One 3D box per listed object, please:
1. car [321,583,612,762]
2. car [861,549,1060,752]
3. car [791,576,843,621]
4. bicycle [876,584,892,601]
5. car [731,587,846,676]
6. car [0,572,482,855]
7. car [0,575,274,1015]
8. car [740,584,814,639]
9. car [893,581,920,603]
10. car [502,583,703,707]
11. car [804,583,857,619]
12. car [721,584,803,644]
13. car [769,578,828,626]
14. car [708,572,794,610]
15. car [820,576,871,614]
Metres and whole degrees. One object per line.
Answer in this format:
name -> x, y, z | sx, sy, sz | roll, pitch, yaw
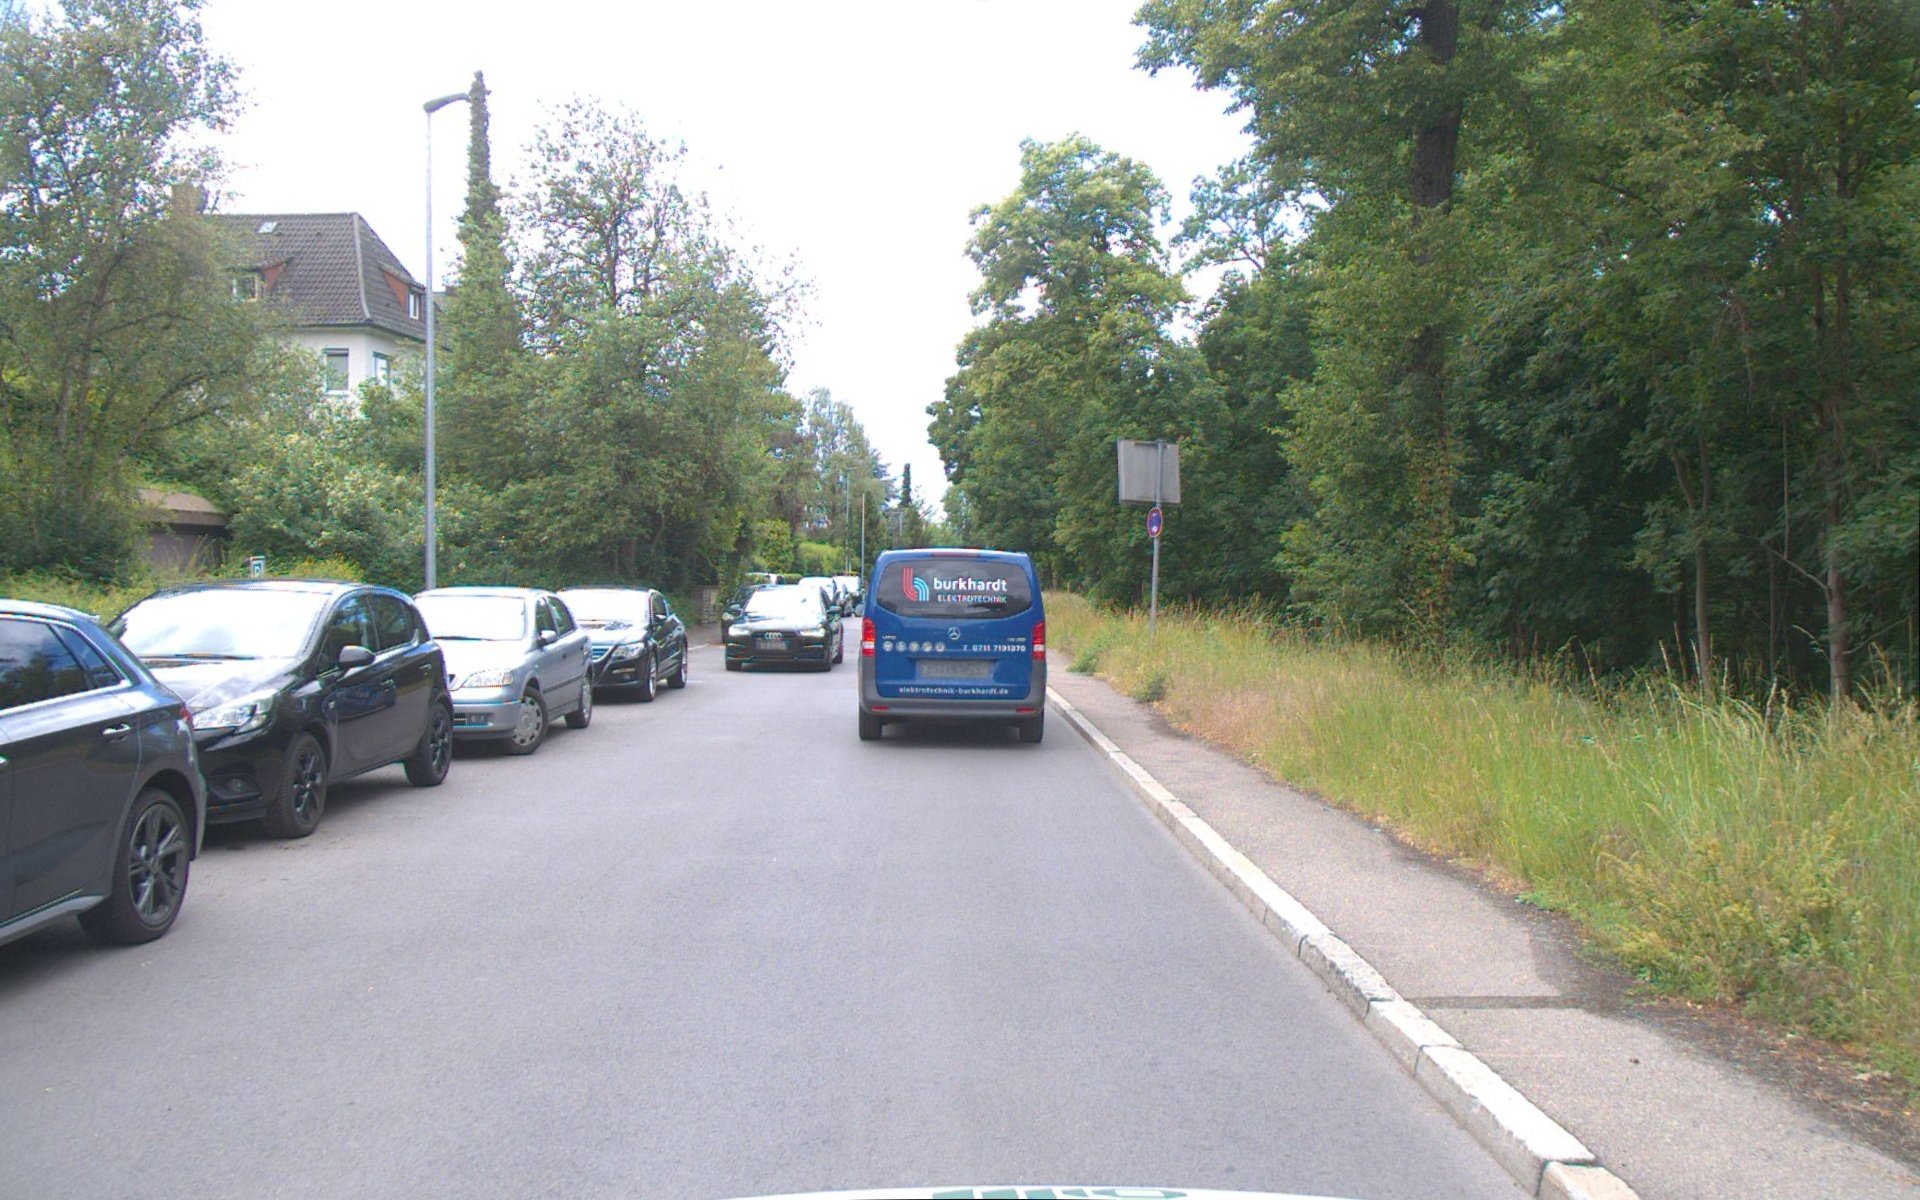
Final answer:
car -> -4.513, 0.572, 15.786 | 1.591, 1.457, 4.350 | 0, 1, -2
car -> -0.105, 0.410, 17.402 | 1.851, 1.876, 3.998 | 0, 2, -3
car -> -5.594, -0.071, 65.203 | 1.696, 1.661, 4.567 | 2, 1, -1
bicycle -> -5.949, -0.612, 129.763 | 0.887, 1.273, 2.917 | 3, 0, 3
car -> -3.033, 0.515, 30.063 | 1.744, 1.451, 4.488 | 1, 1, -2
car -> -4.503, 0.590, 10.893 | 1.591, 1.508, 3.999 | 0, 1, -1
car -> -4.127, 0.673, 5.677 | 1.671, 1.508, 4.495 | 0, 1, 0
car -> -5.169, 0.297, 47.204 | 1.625, 1.478, 4.381 | 0, 1, 0
car -> -4.284, -0.675, 132.646 | 1.798, 1.659, 4.302 | 2, 0, 2
car -> -4.659, 0.512, 22.272 | 1.742, 1.457, 5.103 | 1, 1, -2
car -> -5.495, 0.010, 70.655 | 1.718, 1.437, 4.899 | 2, 1, 2
car -> -5.038, 0.324, 42.486 | 1.589, 1.475, 3.970 | 0, 1, 1
car -> -5.278, 0.086, 54.424 | 1.590, 1.475, 4.092 | -2, -1, -1
car -> -9.912, -0.424, 78.440 | 3.613, 1.666, 1.830 | 2, 0, 12
car -> -5.601, -0.259, 81.378 | 1.933, 1.767, 5.191 | 2, 1, 2
